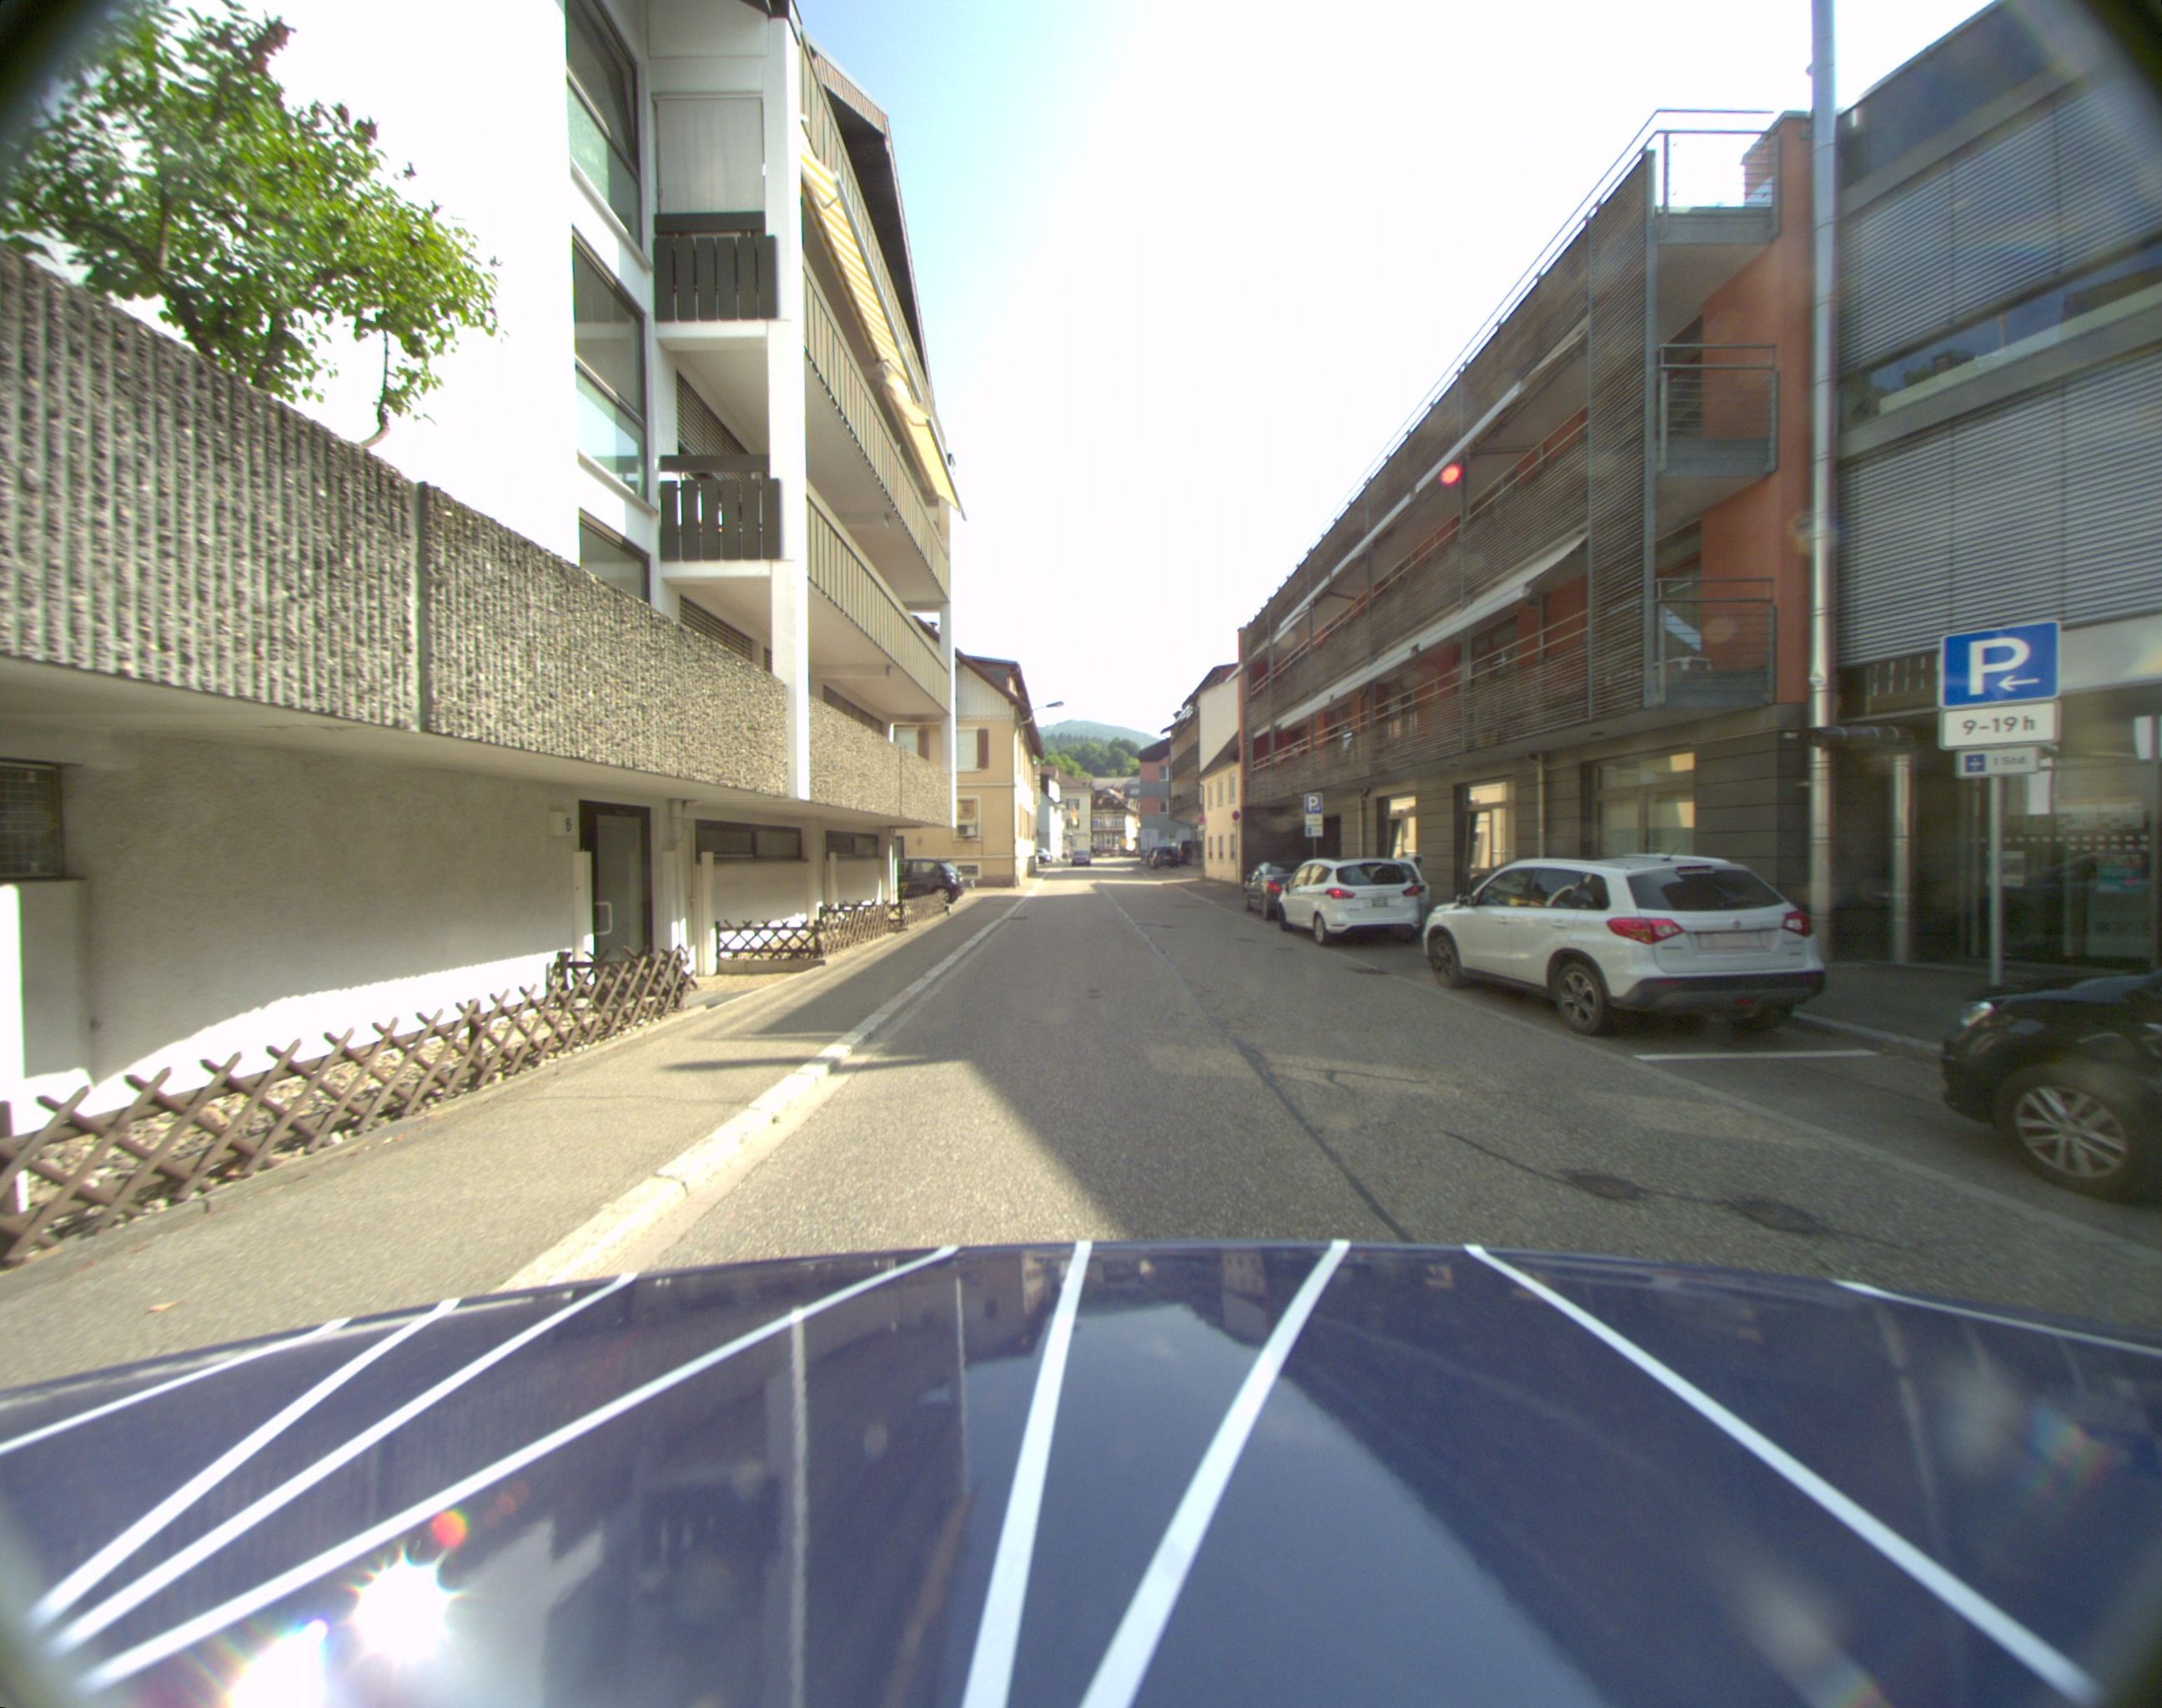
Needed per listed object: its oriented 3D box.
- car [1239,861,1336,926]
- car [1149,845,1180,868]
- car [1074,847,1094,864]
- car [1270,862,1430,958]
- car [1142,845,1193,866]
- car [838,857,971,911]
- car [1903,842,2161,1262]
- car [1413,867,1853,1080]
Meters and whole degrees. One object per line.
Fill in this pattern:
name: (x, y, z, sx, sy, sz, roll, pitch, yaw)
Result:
car: (5.216, 0.947, 19.617, 1.553, 1.408, 3.593, -2, 1, 1)
car: (6.133, 0.186, 56.132, 1.786, 1.566, 3.888, -3, 0, 0)
car: (0.299, 0.129, 72.501, 1.822, 1.652, 3.999, 0, 0, -1)
car: (5.002, 0.959, 14.666, 1.678, 1.546, 3.764, -1, 0, -1)
car: (7.321, 0.110, 64.425, 4.000, 1.673, 1.834, 0, -1, -8)
car: (-5.585, 0.930, 24.441, 3.837, 1.471, 1.699, -2, 1, -1)
car: (5.475, 0.834, 2.108, 1.724, 1.786, 4.268, -1, 0, -1)
car: (5.206, 0.973, 7.945, 1.679, 1.580, 3.949, -1, 0, -1)
